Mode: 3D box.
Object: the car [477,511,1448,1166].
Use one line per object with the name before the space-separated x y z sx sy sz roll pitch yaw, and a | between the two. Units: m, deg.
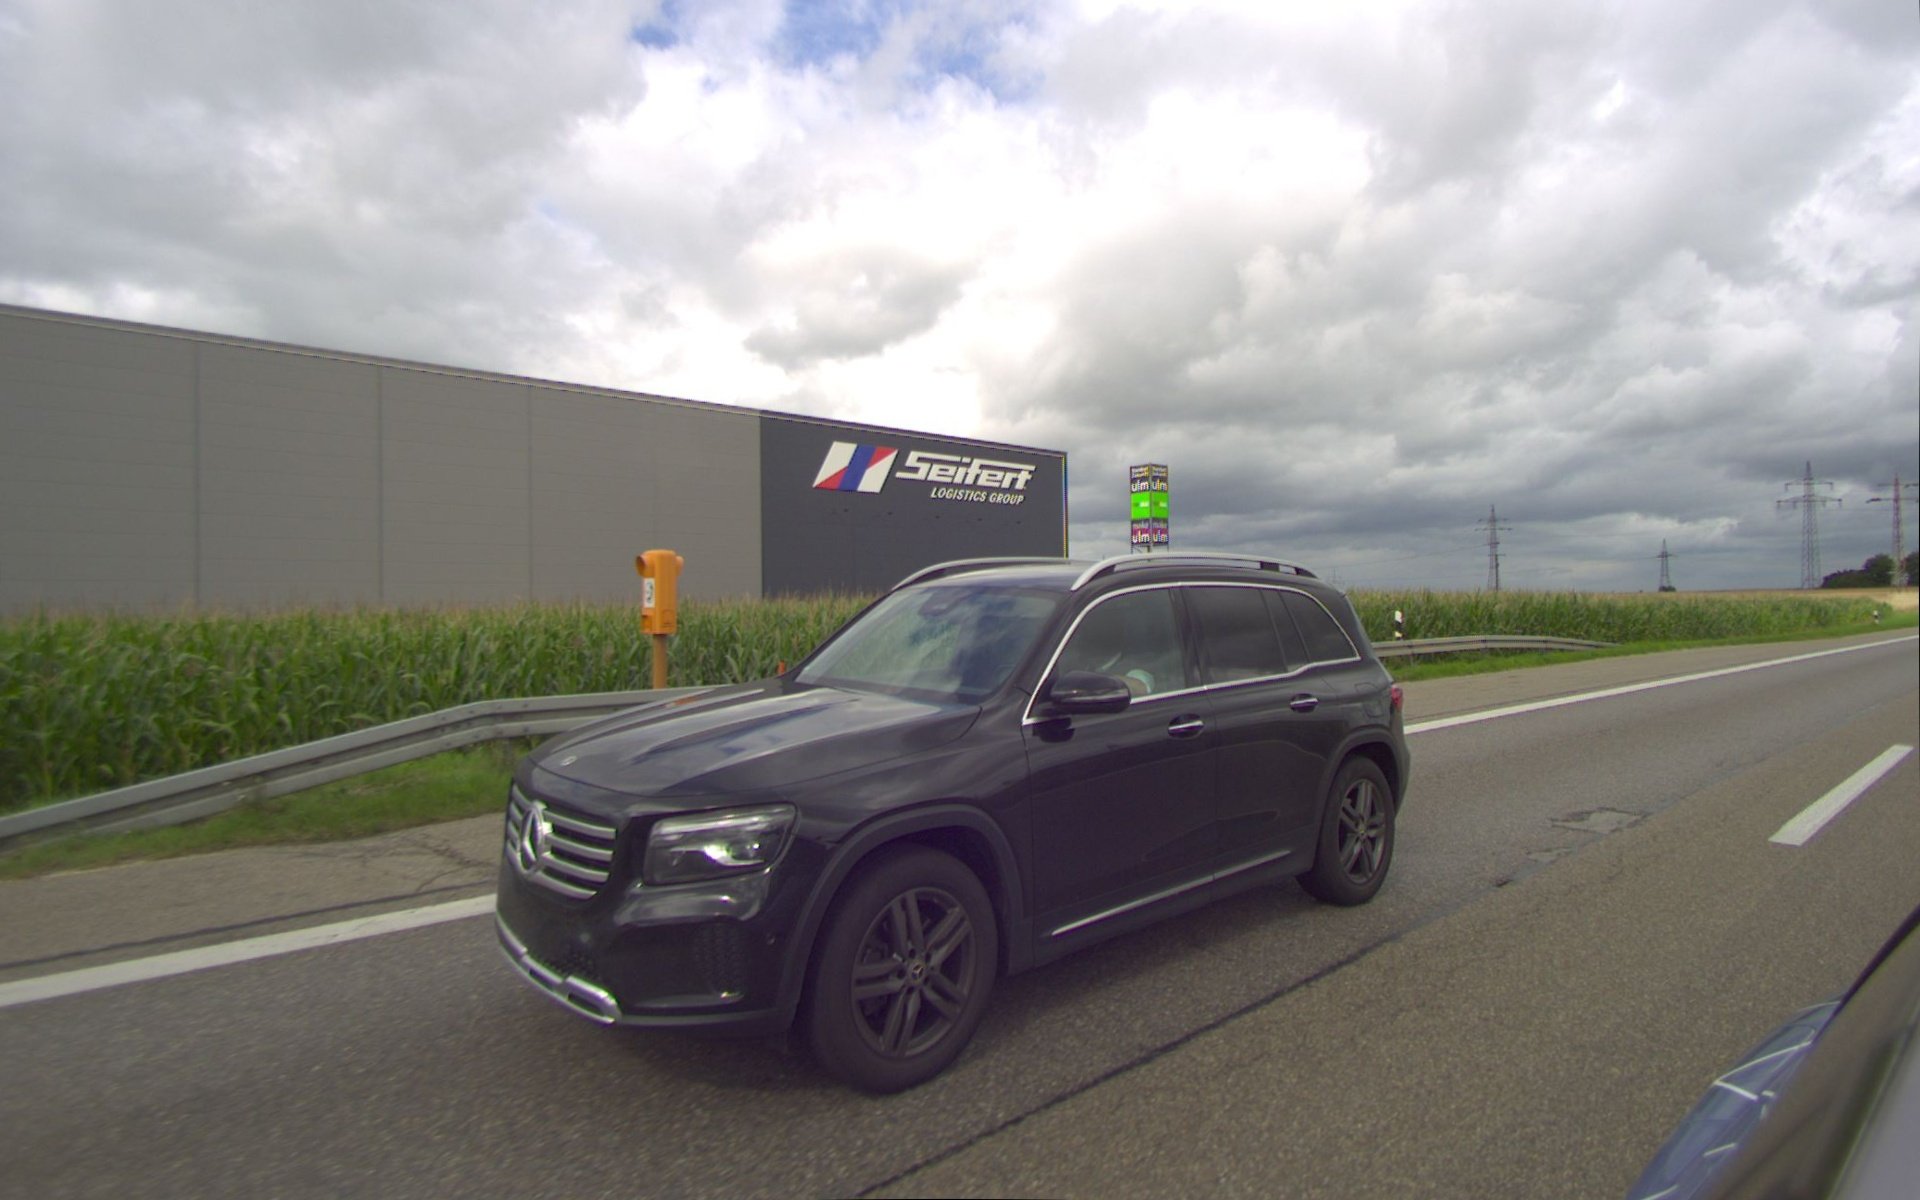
car | 0.339 0.559 4.613 4.283 1.629 1.837 -1 1 -40
